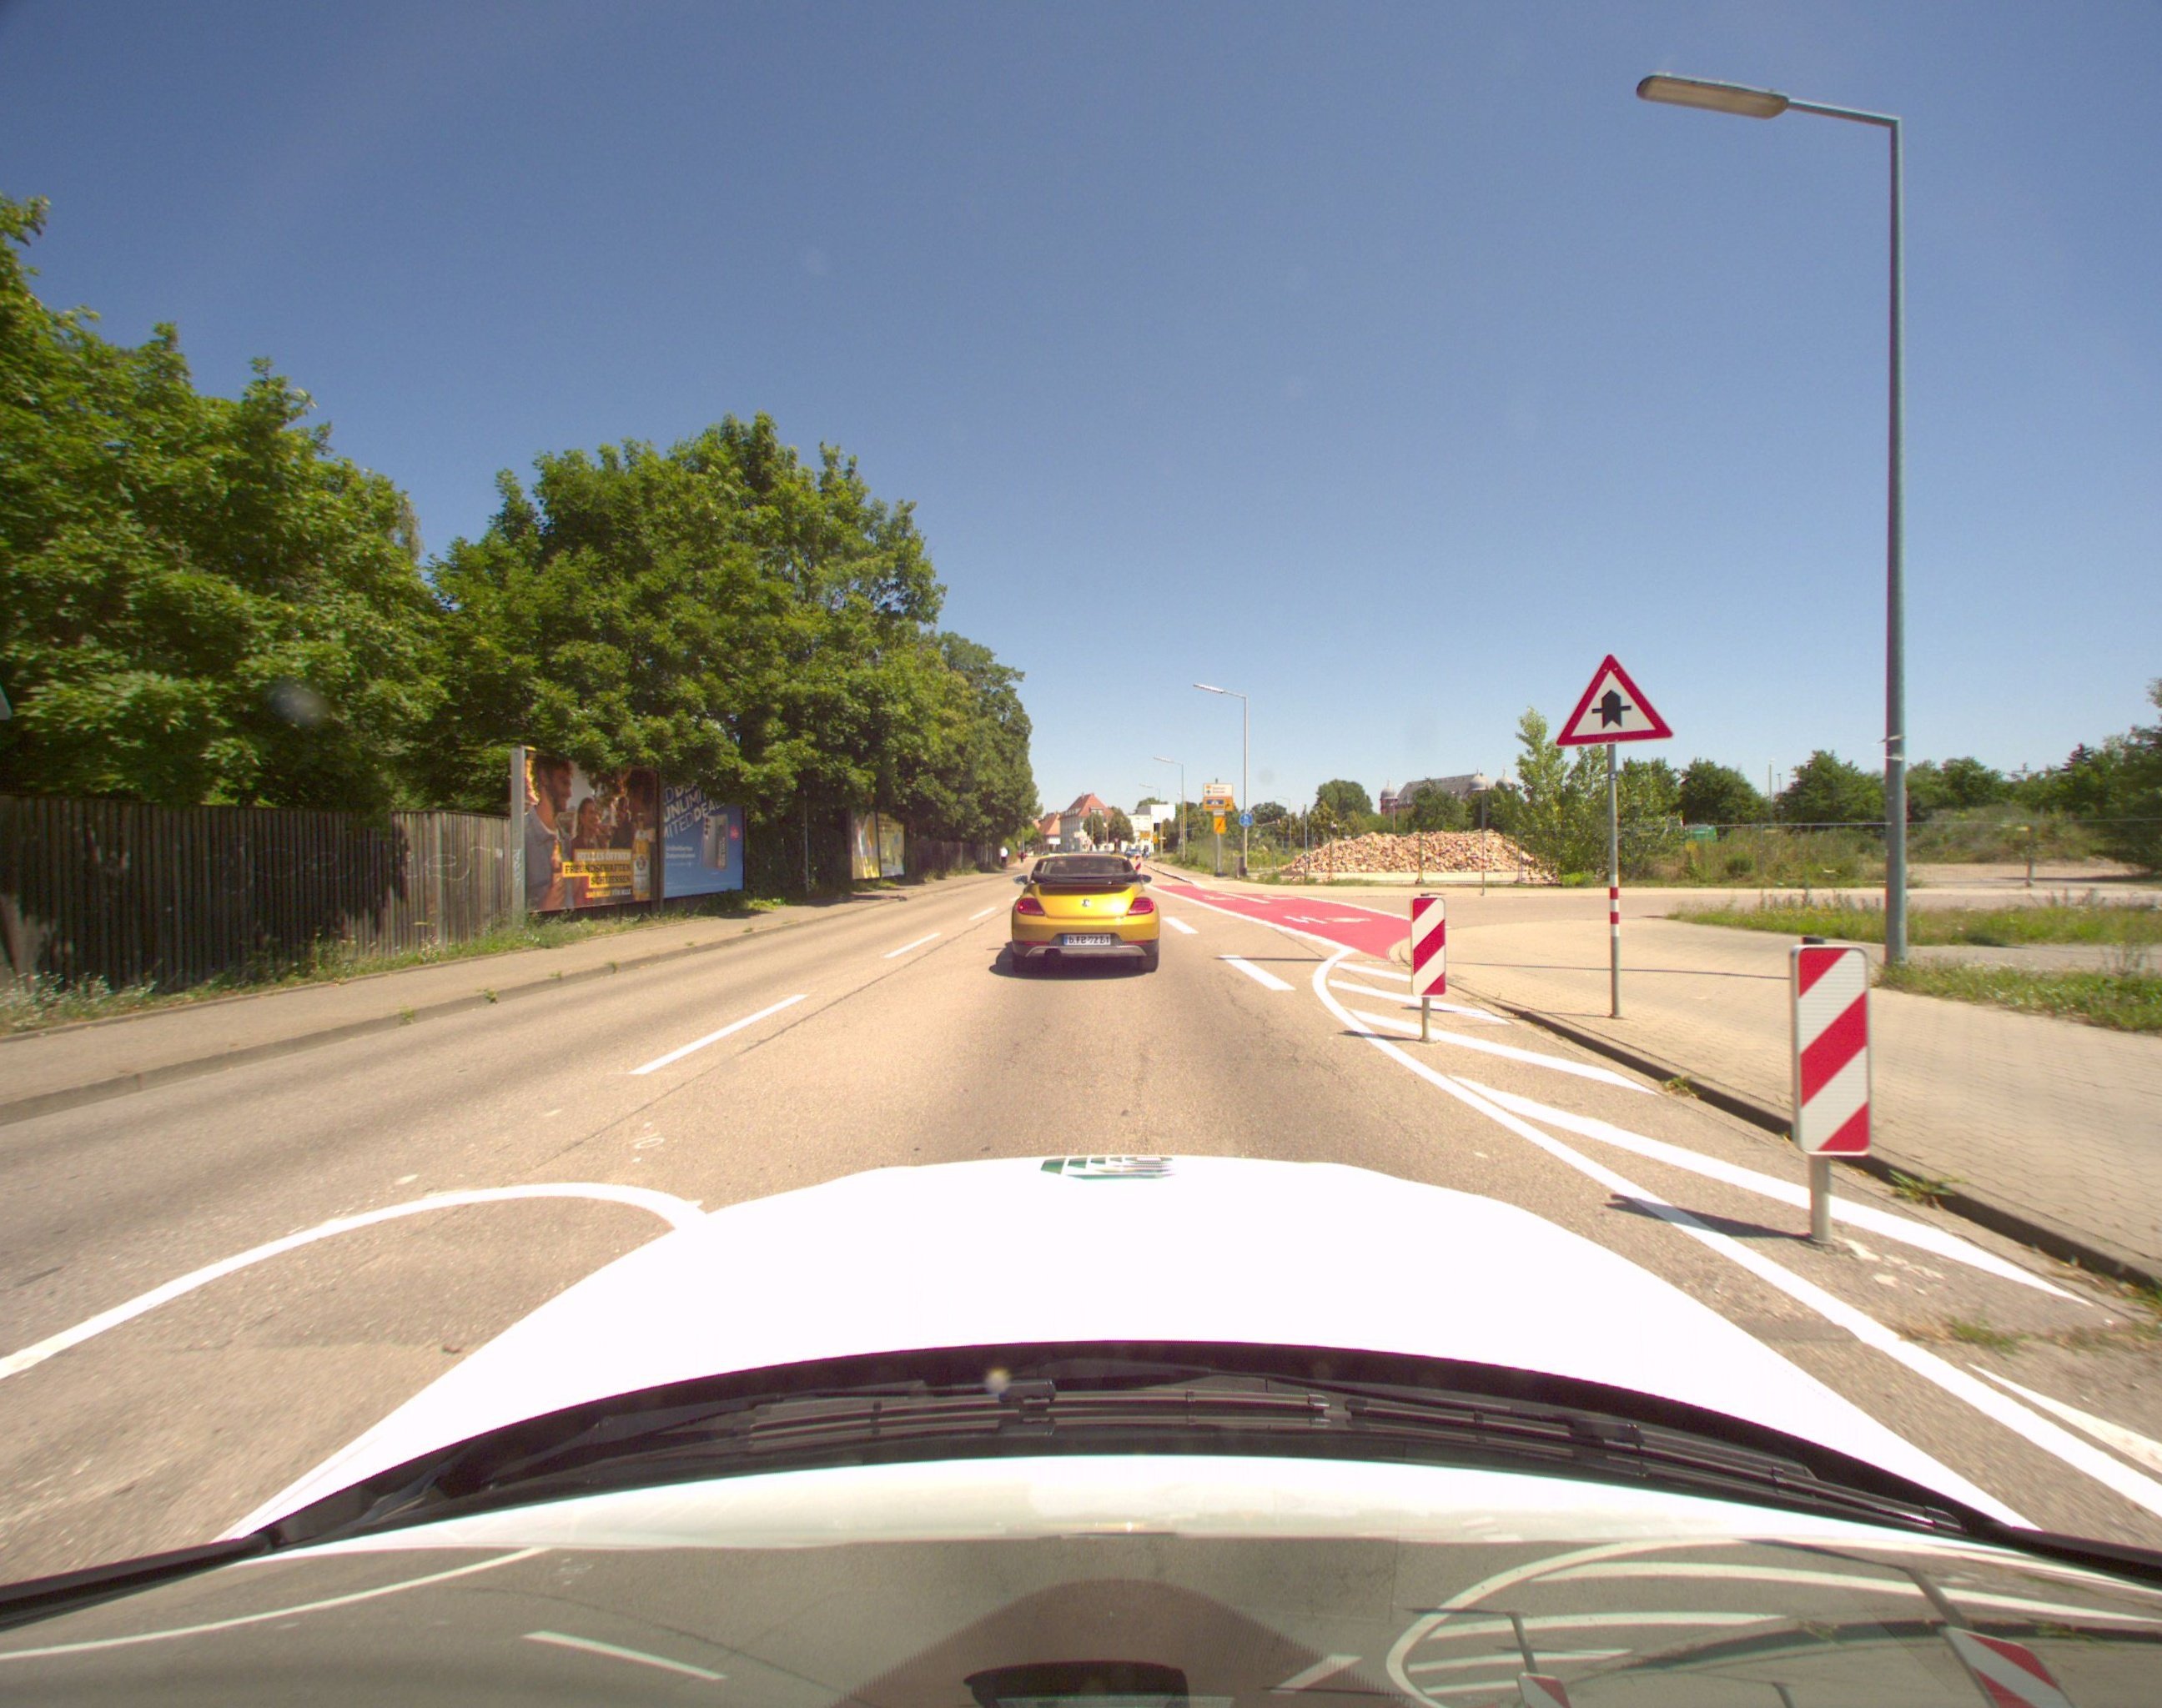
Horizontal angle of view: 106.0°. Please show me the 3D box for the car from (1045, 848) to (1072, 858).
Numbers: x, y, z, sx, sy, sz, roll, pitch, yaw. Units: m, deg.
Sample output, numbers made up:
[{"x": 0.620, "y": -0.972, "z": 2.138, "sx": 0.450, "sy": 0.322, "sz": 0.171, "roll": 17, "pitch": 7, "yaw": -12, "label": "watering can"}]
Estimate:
[{"x": -3.705, "y": -0.169, "z": 133.458, "sx": 4.034, "sy": 1.677, "sz": 1.791, "roll": -1, "pitch": 0, "yaw": 14, "label": "car"}]

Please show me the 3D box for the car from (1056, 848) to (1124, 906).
[{"x": 0.300, "y": 0.576, "z": 22.814, "sx": 1.720, "sy": 1.443, "sz": 4.002, "roll": -1, "pitch": 0, "yaw": 2, "label": "car"}]

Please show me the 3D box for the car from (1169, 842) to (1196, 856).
[{"x": 16.086, "y": -0.824, "z": 128.948, "sx": 3.962, "sy": 2.013, "sz": 2.006, "roll": -2, "pitch": 0, "yaw": 10, "label": "car"}]

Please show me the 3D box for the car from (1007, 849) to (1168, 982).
[{"x": 0.085, "y": 0.683, "z": 11.116, "sx": 1.784, "sy": 1.436, "sz": 3.813, "roll": -1, "pitch": 1, "yaw": 0, "label": "car"}]

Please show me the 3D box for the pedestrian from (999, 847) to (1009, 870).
[{"x": -5.866, "y": 0.316, "z": 62.177, "sx": 0.721, "sy": 1.725, "sz": 0.817, "roll": -1, "pitch": 0, "yaw": -3, "label": "pedestrian"}]

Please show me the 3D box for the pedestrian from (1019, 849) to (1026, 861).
[{"x": -7.241, "y": 0.171, "z": 100.656, "sx": 0.721, "sy": 1.454, "sz": 0.817, "roll": -1, "pitch": 0, "yaw": -3, "label": "pedestrian"}]

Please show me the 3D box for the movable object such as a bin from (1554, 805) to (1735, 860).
[{"x": 37.262, "y": -1.328, "z": 54.659, "sx": 4.923, "sy": 3.260, "sz": 10.468, "roll": -1, "pitch": 0, "yaw": 0, "label": "movable object such as a bin"}]

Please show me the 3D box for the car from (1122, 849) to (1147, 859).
[{"x": 8.898, "y": 0.022, "z": 134.942, "sx": 3.964, "sy": 1.553, "sz": 1.997, "roll": 0, "pitch": 1, "yaw": 8, "label": "car"}]

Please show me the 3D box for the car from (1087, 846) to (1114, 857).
[{"x": 3.036, "y": -0.440, "z": 128.192, "sx": 3.960, "sy": 1.613, "sz": 1.797, "roll": -2, "pitch": 0, "yaw": 11, "label": "car"}]
